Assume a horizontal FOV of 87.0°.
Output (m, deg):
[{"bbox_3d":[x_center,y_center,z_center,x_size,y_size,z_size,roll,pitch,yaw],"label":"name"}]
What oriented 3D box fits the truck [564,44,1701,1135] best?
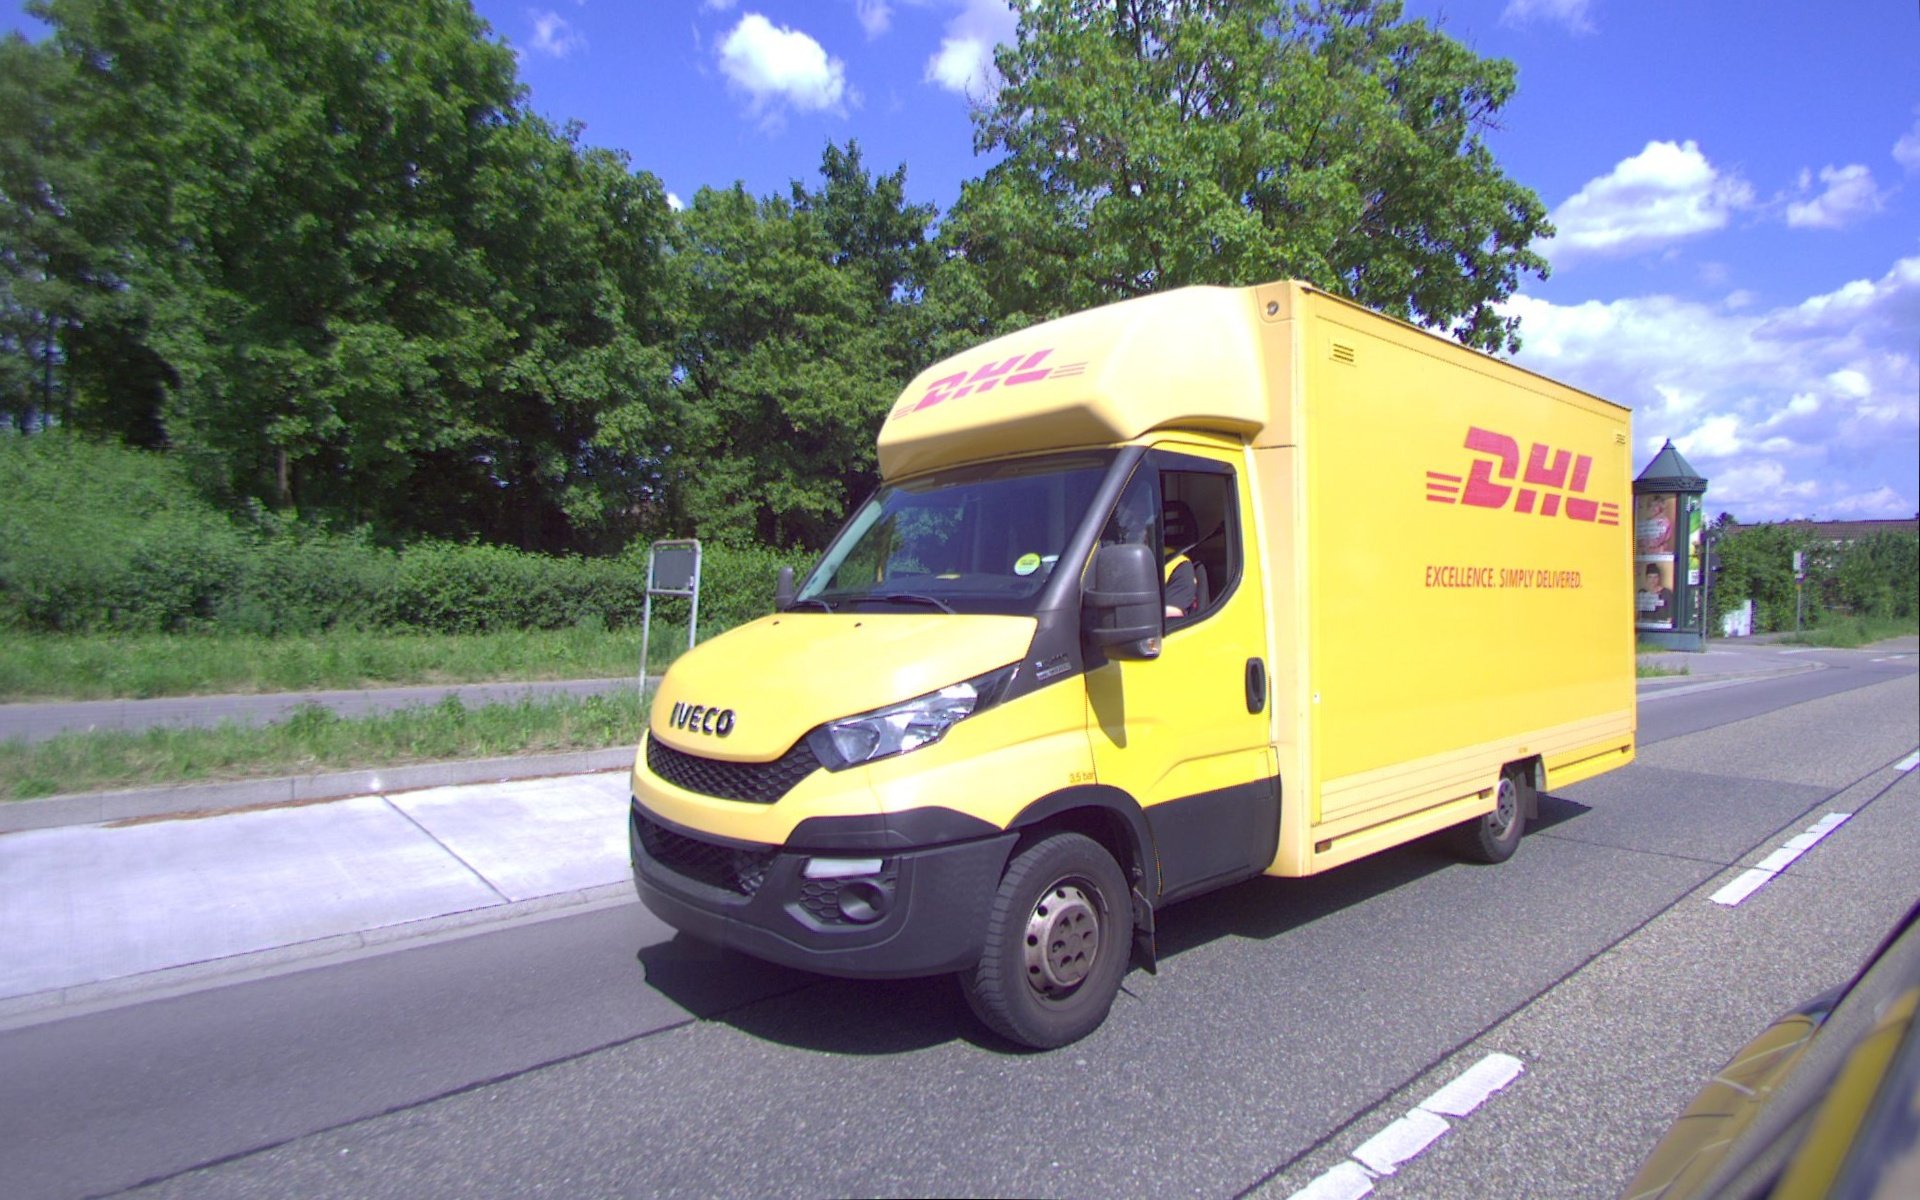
[{"bbox_3d":[1.991,-0.028,6.138,7.885,2.917,2.269,0,0,-40],"label":"truck"}]
